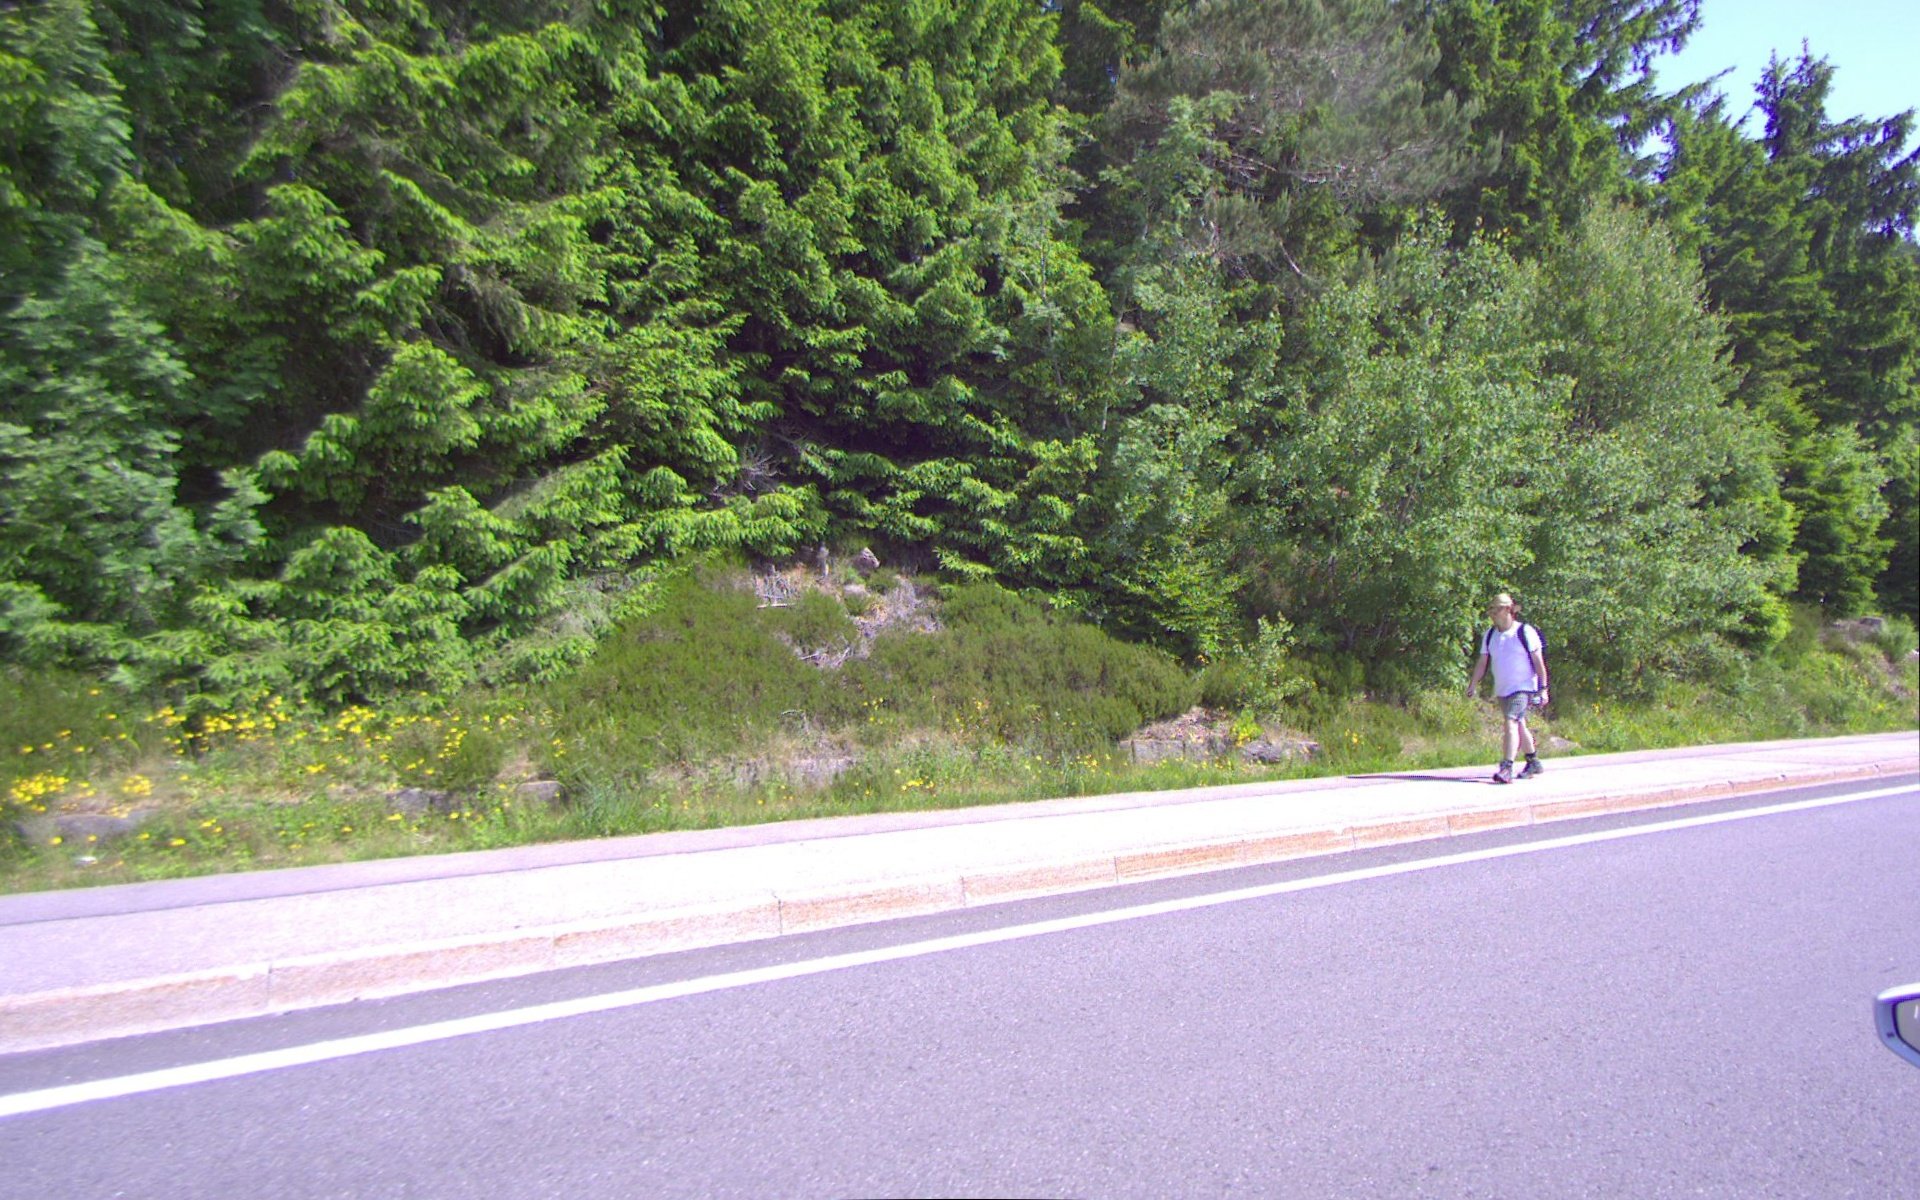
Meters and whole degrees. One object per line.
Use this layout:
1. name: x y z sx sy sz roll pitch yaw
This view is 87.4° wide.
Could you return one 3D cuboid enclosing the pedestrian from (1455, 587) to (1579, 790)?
1. pedestrian: 5.122 0.779 9.251 0.816 1.769 0.679 1 -1 -31
